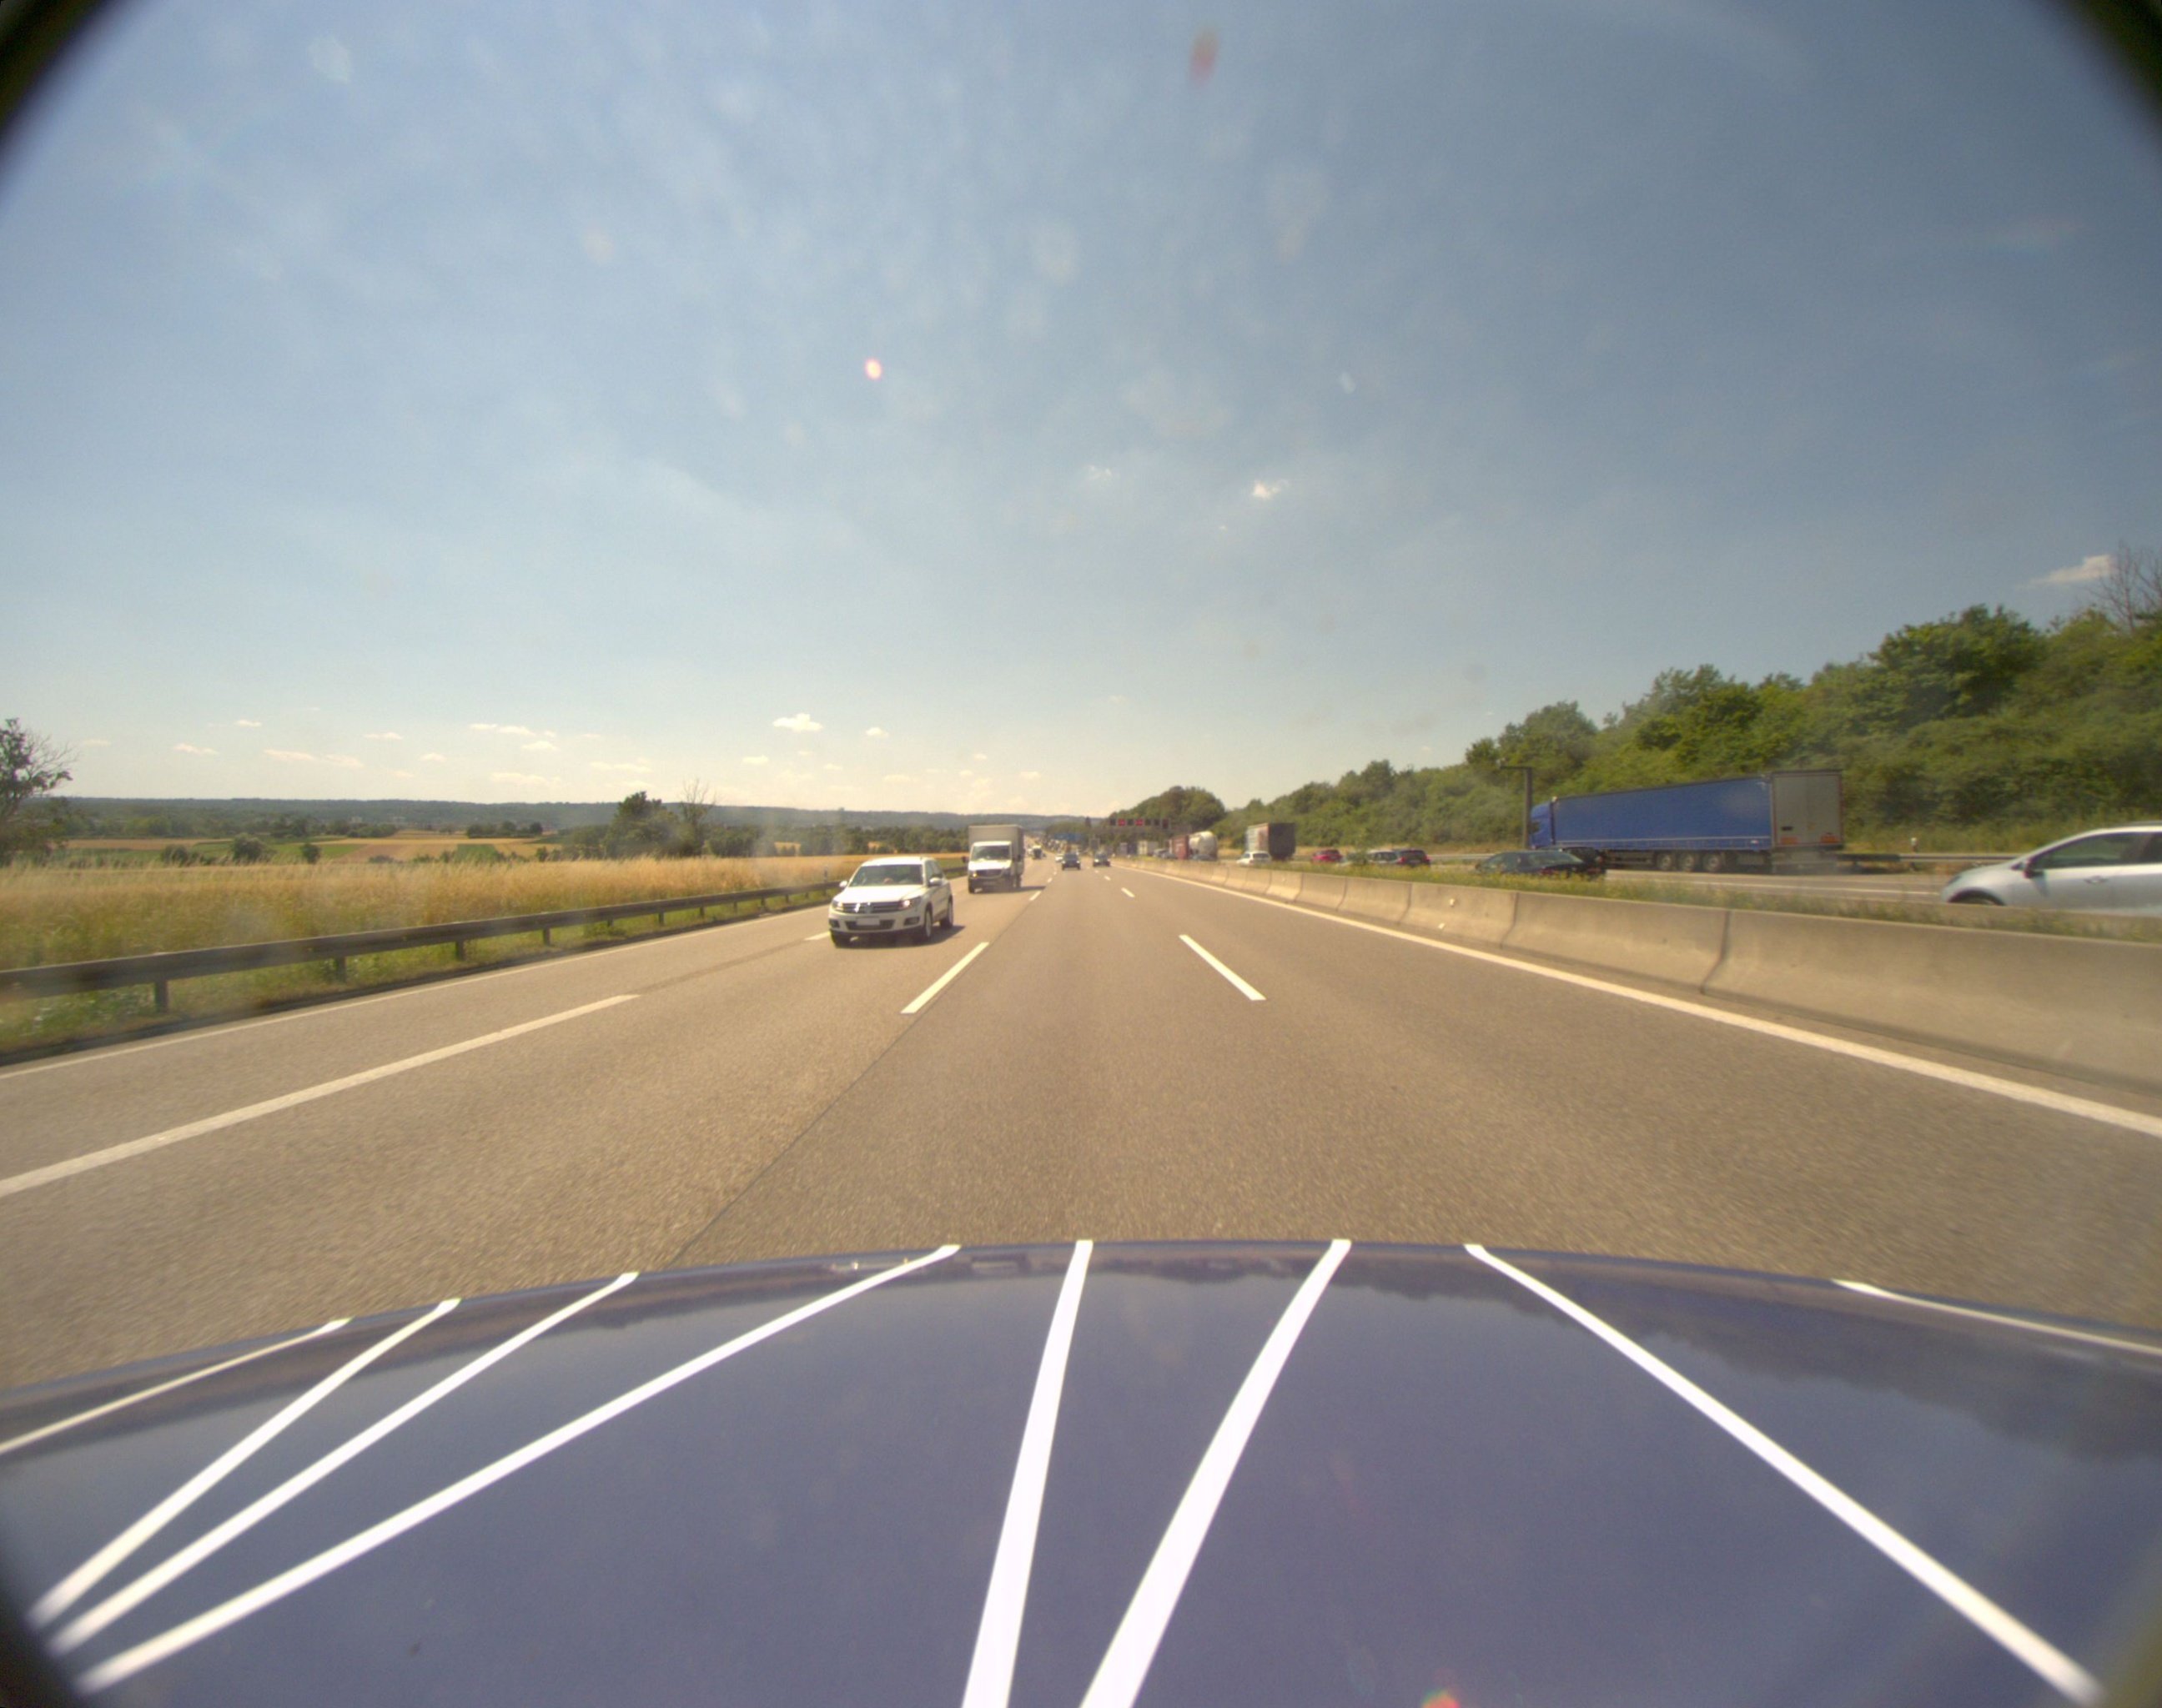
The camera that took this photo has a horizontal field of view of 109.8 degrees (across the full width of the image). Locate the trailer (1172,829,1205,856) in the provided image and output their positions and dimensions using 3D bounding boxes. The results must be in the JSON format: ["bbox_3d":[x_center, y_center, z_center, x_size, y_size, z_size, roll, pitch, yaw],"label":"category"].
[{"bbox_3d":[17.431,-1.787,123.910,2.946,4.086,14.080,-1,1,-1],"label":"trailer"}]

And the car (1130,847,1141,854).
[{"bbox_3d":[11.430,-0.659,159.565,1.767,1.419,3.998,-1,1,-5],"label":"car"}]

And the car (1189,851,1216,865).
[{"bbox_3d":[11.364,0.345,71.370,1.796,1.268,4.220,-1,1,-1],"label":"car"}]

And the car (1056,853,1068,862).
[{"bbox_3d":[-3.482,0.639,141.129,1.999,1.467,3.999,-2,1,-1],"label":"car"}]

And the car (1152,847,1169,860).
[{"bbox_3d":[12.972,-0.122,124.144,1.961,2.018,4.544,-1,1,-2],"label":"car"}]

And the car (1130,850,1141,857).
[{"bbox_3d":[9.733,-0.078,135.609,1.617,1.315,3.424,-1,1,-2],"label":"car"}]

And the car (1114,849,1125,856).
[{"bbox_3d":[8.050,-0.293,160.235,1.767,1.419,3.998,-1,1,-5],"label":"car"}]

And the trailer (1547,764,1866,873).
[{"bbox_3d":[27.728,-1.306,35.521,3.088,3.948,14.493,-2,0,1],"label":"trailer"}]

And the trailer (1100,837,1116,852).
[{"bbox_3d":[7.560,-2.647,213.996,3.133,4.143,10.194,-2,1,-4],"label":"trailer"}]

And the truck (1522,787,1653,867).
[{"bbox_3d":[27.809,-1.395,42.075,3.096,4.005,6.094,-2,0,0],"label":"truck"}]

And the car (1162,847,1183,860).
[{"bbox_3d":[11.489,-0.048,95.545,1.848,1.461,4.831,-2,1,-1],"label":"car"}]

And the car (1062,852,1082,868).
[{"bbox_3d":[-0.956,0.576,75.687,1.866,1.426,3.999,-1,1,-2],"label":"car"}]

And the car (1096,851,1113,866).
[{"bbox_3d":[2.664,0.507,86.532,1.807,1.534,4.752,-1,-2,3],"label":"car"}]

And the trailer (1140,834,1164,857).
[{"bbox_3d":[15.307,-1.816,165.101,3.363,4.548,13.643,-2,1,-3],"label":"trailer"}]

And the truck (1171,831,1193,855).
[{"bbox_3d":[17.261,-1.947,130.255,2.976,3.986,5.131,-1,1,-1],"label":"truck"}]

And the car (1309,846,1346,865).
[{"bbox_3d":[19.066,0.110,58.915,1.751,1.396,4.212,-1,1,4],"label":"car"}]

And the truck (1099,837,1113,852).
[{"bbox_3d":[7.201,-2.729,219.157,3.133,4.143,6.233,-2,1,-4],"label":"truck"}]

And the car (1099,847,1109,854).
[{"bbox_3d":[5.729,-0.958,190.418,1.911,1.662,3.998,-1,1,-4],"label":"car"}]

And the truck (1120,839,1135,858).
[{"bbox_3d":[12.398,-1.525,203.009,3.021,4.699,6.684,-2,1,-4],"label":"truck"}]

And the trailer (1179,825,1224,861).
[{"bbox_3d":[15.044,-1.383,96.272,2.945,4.141,14.167,-2,1,-1],"label":"trailer"}]

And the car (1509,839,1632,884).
[{"bbox_3d":[18.042,0.251,28.255,1.998,1.511,4.308,-1,1,4],"label":"car"}]

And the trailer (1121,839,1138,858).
[{"bbox_3d":[12.642,-1.461,198.759,3.021,4.699,11.022,-2,1,-4],"label":"trailer"}]

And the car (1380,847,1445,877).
[{"bbox_3d":[17.801,0.385,41.020,1.881,1.441,4.633,-1,1,6],"label":"car"}]

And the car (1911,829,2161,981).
[{"bbox_3d":[12.863,0.544,8.810,1.845,1.667,4.443,-1,1,5],"label":"car"}]

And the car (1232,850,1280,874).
[{"bbox_3d":[11.992,0.485,52.451,1.999,1.511,5.150,-1,1,-1],"label":"car"}]

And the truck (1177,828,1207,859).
[{"bbox_3d":[14.806,-1.402,102.171,2.891,3.859,6.084,-2,1,-1],"label":"truck"}]

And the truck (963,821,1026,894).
[{"bbox_3d":[-3.929,0.126,35.907,2.446,3.010,6.914,-2,0,-3],"label":"truck"}]

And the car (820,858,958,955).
[{"bbox_3d":[-3.770,0.945,15.671,1.837,1.635,4.172,-2,0,-2],"label":"car"}]

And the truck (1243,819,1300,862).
[{"bbox_3d":[18.910,-1.273,76.103,3.017,3.894,10.354,-1,0,0],"label":"truck"}]

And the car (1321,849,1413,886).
[{"bbox_3d":[12.035,0.520,32.347,1.999,1.436,4.792,-2,0,-1],"label":"car"}]

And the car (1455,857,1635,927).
[{"bbox_3d":[11.803,0.893,19.753,1.999,1.511,4.306,-1,1,-1],"label":"car"}]
